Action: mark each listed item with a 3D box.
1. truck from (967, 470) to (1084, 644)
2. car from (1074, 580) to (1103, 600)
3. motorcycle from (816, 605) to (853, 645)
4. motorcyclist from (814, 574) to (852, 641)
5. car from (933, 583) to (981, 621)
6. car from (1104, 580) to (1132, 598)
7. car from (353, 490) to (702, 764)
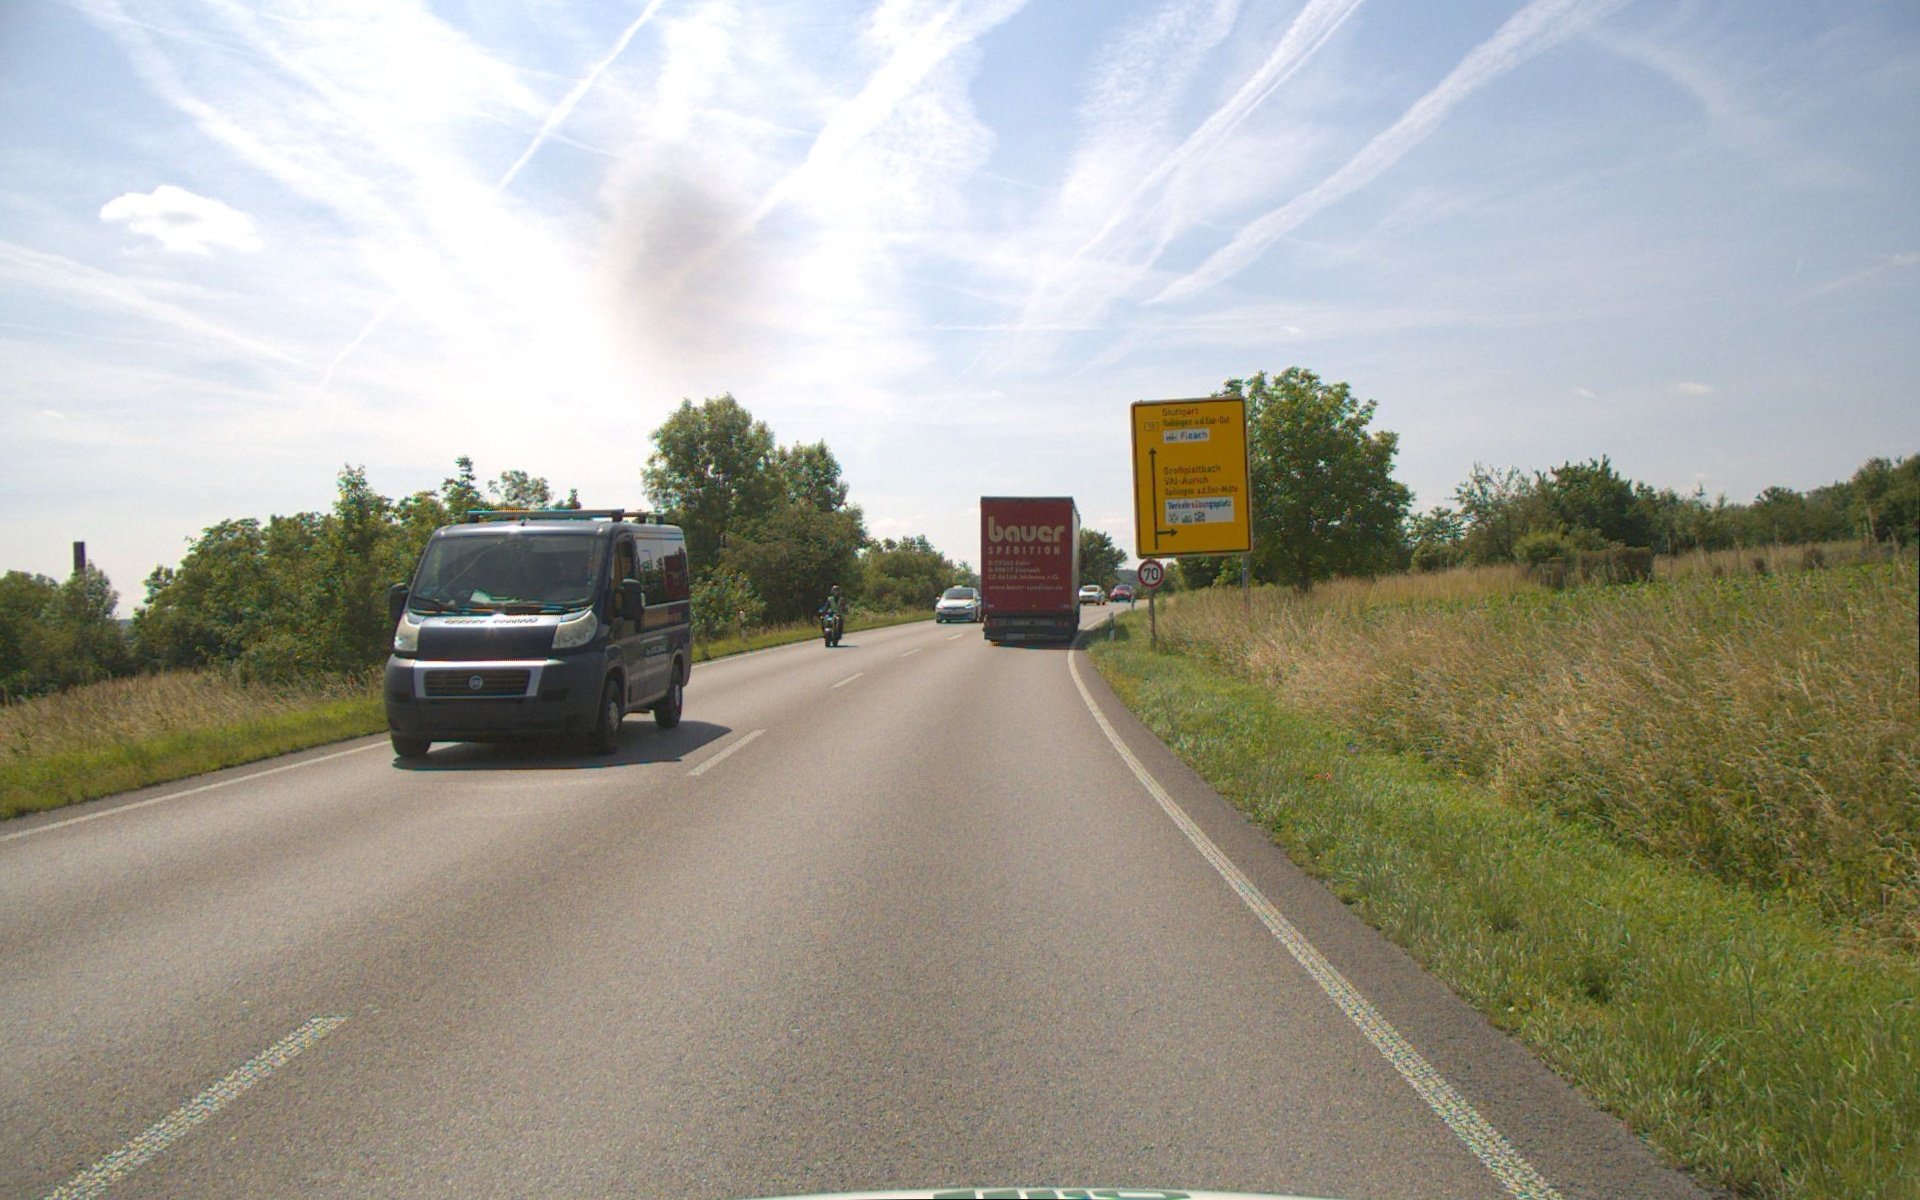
[{"bbox_3d":[2.081,-1.142,50.117,3.047,4.584,12.172,1,0,3],"label":"truck"},{"bbox_3d":[9.620,-0.751,123.402,1.713,1.438,3.777,-1,1,11],"label":"car"},{"bbox_3d":[-3.321,0.643,43.913,0.741,1.011,2.280,0,1,1],"label":"motorcycle"},{"bbox_3d":[-3.361,0.193,43.930,0.899,1.748,0.963,-1,0,1],"label":"motorcyclist"},{"bbox_3d":[-0.096,0.076,70.956,1.753,1.548,4.162,-1,1,4],"label":"car"},{"bbox_3d":[13.329,-0.941,138.956,1.781,1.422,4.187,-1,1,13],"label":"car"},{"bbox_3d":[-4.119,0.220,16.744,2.126,2.343,4.907,-1,0,1],"label":"car"}]
